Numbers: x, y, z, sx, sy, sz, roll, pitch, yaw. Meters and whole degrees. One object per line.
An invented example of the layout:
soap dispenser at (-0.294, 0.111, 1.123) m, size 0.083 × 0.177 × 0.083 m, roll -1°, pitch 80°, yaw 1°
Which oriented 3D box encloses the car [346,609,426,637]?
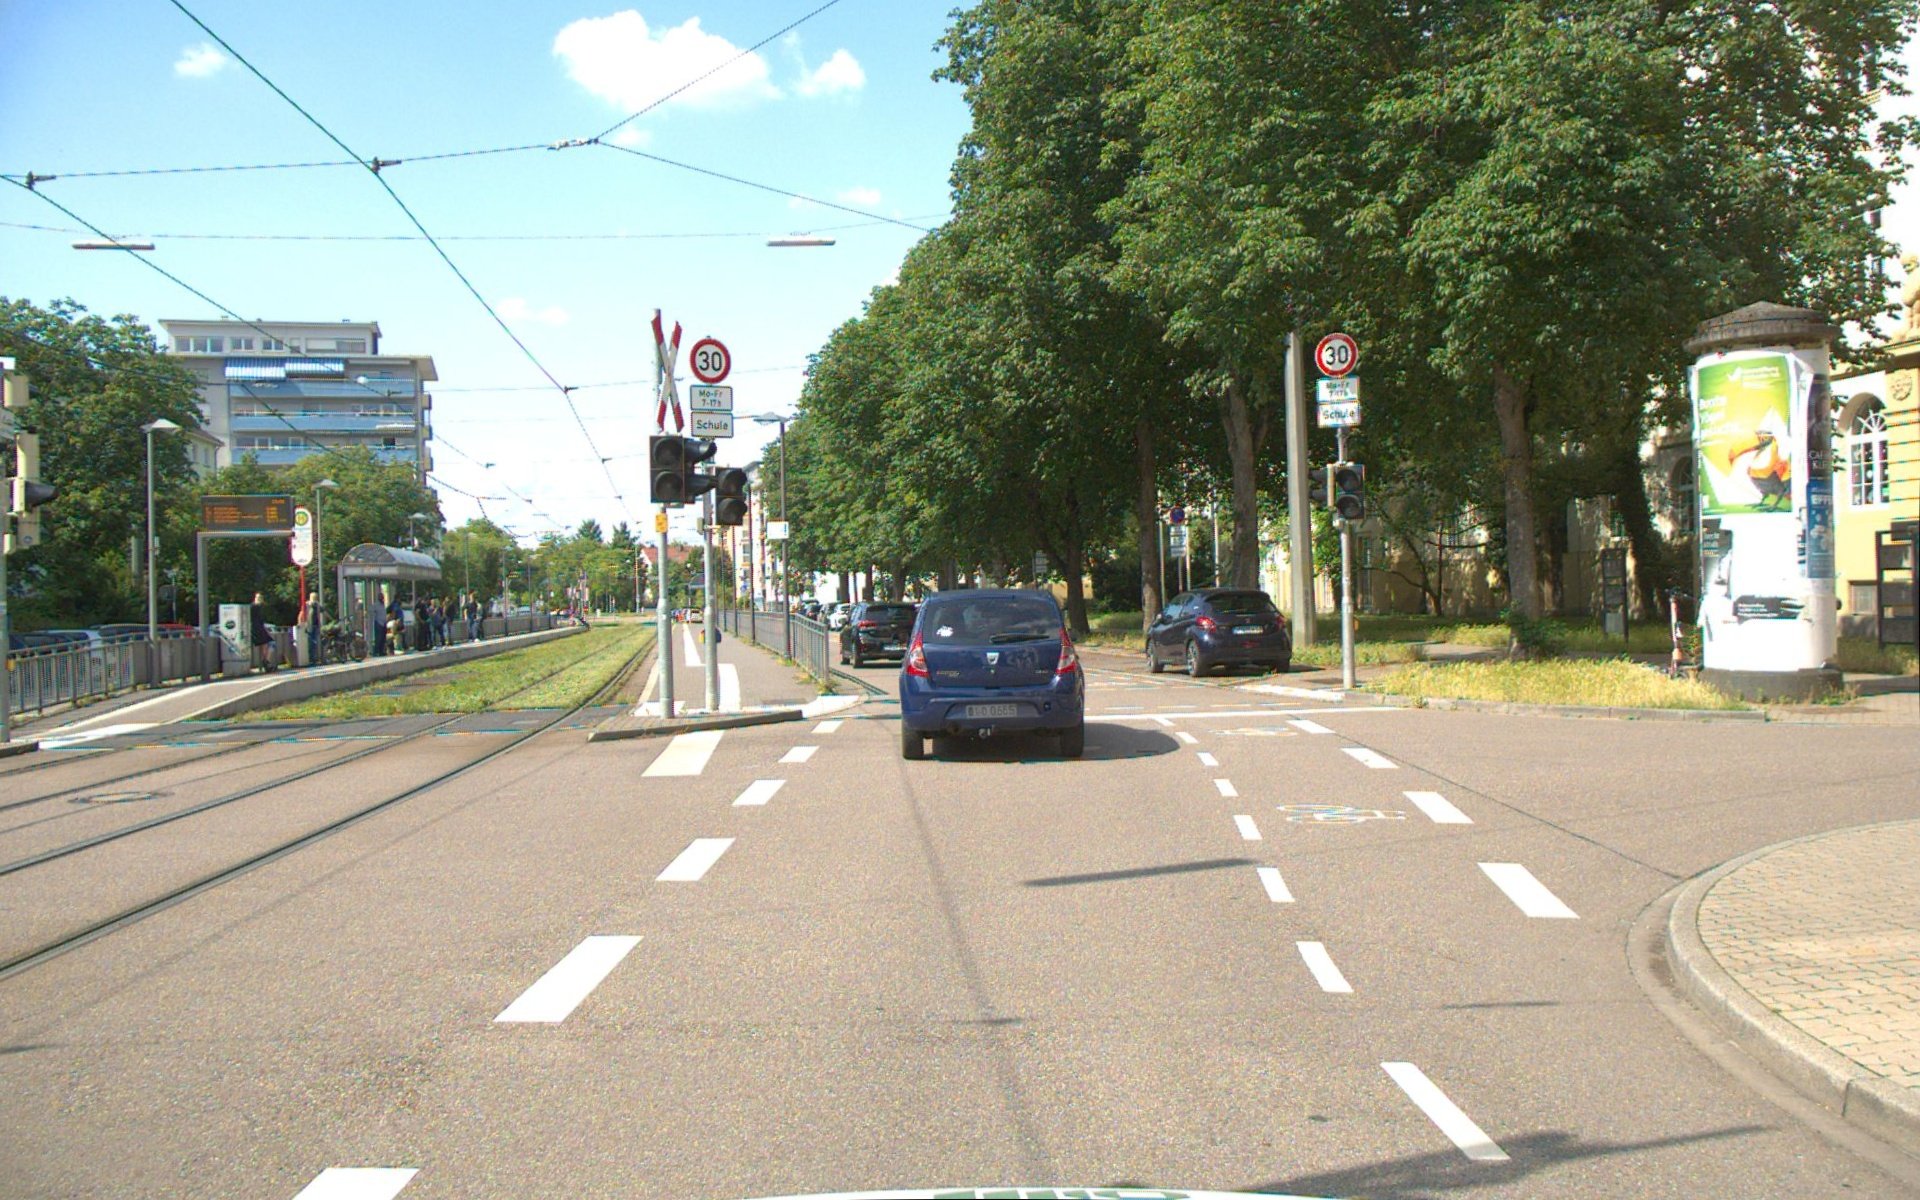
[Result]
car at (-32.889, 1.318, 94.865) m, size 3.969 × 1.472 × 1.700 m, roll -2°, pitch 0°, yaw -44°

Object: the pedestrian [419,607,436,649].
pedestrian at (-18.985, 0.984, 58.965) m, size 0.480 × 1.477 × 0.461 m, roll -3°, pitch 0°, yaw -19°

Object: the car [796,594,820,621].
car at (-10.695, 0.502, 116.444) m, size 1.635 × 1.803 × 3.996 m, roll -2°, pitch 0°, yaw -5°

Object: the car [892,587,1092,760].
car at (0.271, 0.630, 16.214) m, size 1.732 × 1.487 × 3.775 m, roll 0°, pitch 0°, yaw 0°

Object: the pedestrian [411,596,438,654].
pedestrian at (-16.974, 0.792, 52.450) m, size 0.592 × 1.796 × 0.639 m, roll -2°, pitch 0°, yaw 0°

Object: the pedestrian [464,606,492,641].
pedestrian at (-21.060, 1.010, 72.296) m, size 1.015 × 1.462 × 0.698 m, roll -3°, pitch 1°, yaw -24°

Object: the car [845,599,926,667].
car at (-1.716, 0.700, 37.136) m, size 1.667 × 1.392 × 3.511 m, roll -1°, pitch 1°, yaw -5°

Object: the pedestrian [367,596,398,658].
pedestrian at (-16.479, 0.758, 47.226) m, size 0.643 × 1.722 × 0.655 m, roll -3°, pitch 0°, yaw -9°

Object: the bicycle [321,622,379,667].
bicycle at (-14.988, 1.085, 40.677) m, size 0.672 × 0.991 × 1.771 m, roll -4°, pitch 0°, yaw 1°

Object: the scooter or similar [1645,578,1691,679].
scooter or similar at (8.790, 0.336, 20.551) m, size 0.299 × 1.210 × 1.163 m, roll -2°, pitch 0°, yaw 14°

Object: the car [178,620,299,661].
car at (-28.245, 1.570, 64.843) m, size 1.684 × 1.391 × 3.980 m, roll -3°, pitch 0°, yaw 39°

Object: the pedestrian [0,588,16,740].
pedestrian at (-11.807, 0.781, 19.431) m, size 0.855 × 1.806 × 1.001 m, roll -4°, pitch 0°, yaw -11°

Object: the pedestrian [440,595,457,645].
pedestrian at (-18.229, 0.702, 58.966) m, size 0.480 × 1.742 × 0.461 m, roll -3°, pitch 0°, yaw -19°

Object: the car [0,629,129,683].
car at (-25.182, 1.543, 46.224) m, size 1.425 × 1.332 × 3.238 m, roll -2°, pitch 0°, yaw 32°

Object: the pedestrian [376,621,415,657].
pedestrian at (-16.671, 1.144, 48.837) m, size 0.907 × 1.006 × 0.796 m, roll -3°, pitch -2°, yaw -7°

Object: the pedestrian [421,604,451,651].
pedestrian at (-16.763, 0.888, 52.894) m, size 0.641 × 1.450 × 0.562 m, roll -3°, pitch 0°, yaw 28°

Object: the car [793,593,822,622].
car at (-10.158, 0.496, 110.360) m, size 1.794 × 1.792 × 3.997 m, roll -2°, pitch 0°, yaw -4°

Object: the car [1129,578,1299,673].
car at (4.326, 0.420, 28.793) m, size 1.733 × 1.458 × 3.895 m, roll -3°, pitch 0°, yaw -10°

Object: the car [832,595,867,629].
car at (-6.180, 0.667, 92.001) m, size 1.587 × 1.780 × 3.992 m, roll -2°, pitch 0°, yaw -8°

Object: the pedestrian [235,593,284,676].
pedestrian at (-15.125, 0.739, 35.706) m, size 0.699 × 1.756 × 0.666 m, roll -2°, pitch 0°, yaw 33°

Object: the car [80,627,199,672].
car at (-27.143, 1.632, 54.791) m, size 1.426 × 1.332 × 3.236 m, roll -2°, pitch 0°, yaw 35°

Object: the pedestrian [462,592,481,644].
pedestrian at (-19.767, 0.732, 66.931) m, size 0.650 × 2.049 × 0.799 m, roll -2°, pitch 0°, yaw -18°

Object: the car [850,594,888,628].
car at (-4.612, 0.543, 83.458) m, size 1.792 × 1.564 × 3.997 m, roll -3°, pitch 0°, yaw -4°

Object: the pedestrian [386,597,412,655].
pedestrian at (-17.394, 0.800, 51.299) m, size 0.582 × 1.766 × 0.556 m, roll -3°, pitch 0°, yaw -5°

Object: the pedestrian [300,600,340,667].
pedestrian at (-15.776, 0.830, 40.787) m, size 0.650 × 1.597 × 0.685 m, roll -3°, pitch 0°, yaw -1°

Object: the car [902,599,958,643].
car at (-1.159, 0.747, 61.664) m, size 1.825 × 1.470 × 3.997 m, roll -4°, pitch 0°, yaw -4°
